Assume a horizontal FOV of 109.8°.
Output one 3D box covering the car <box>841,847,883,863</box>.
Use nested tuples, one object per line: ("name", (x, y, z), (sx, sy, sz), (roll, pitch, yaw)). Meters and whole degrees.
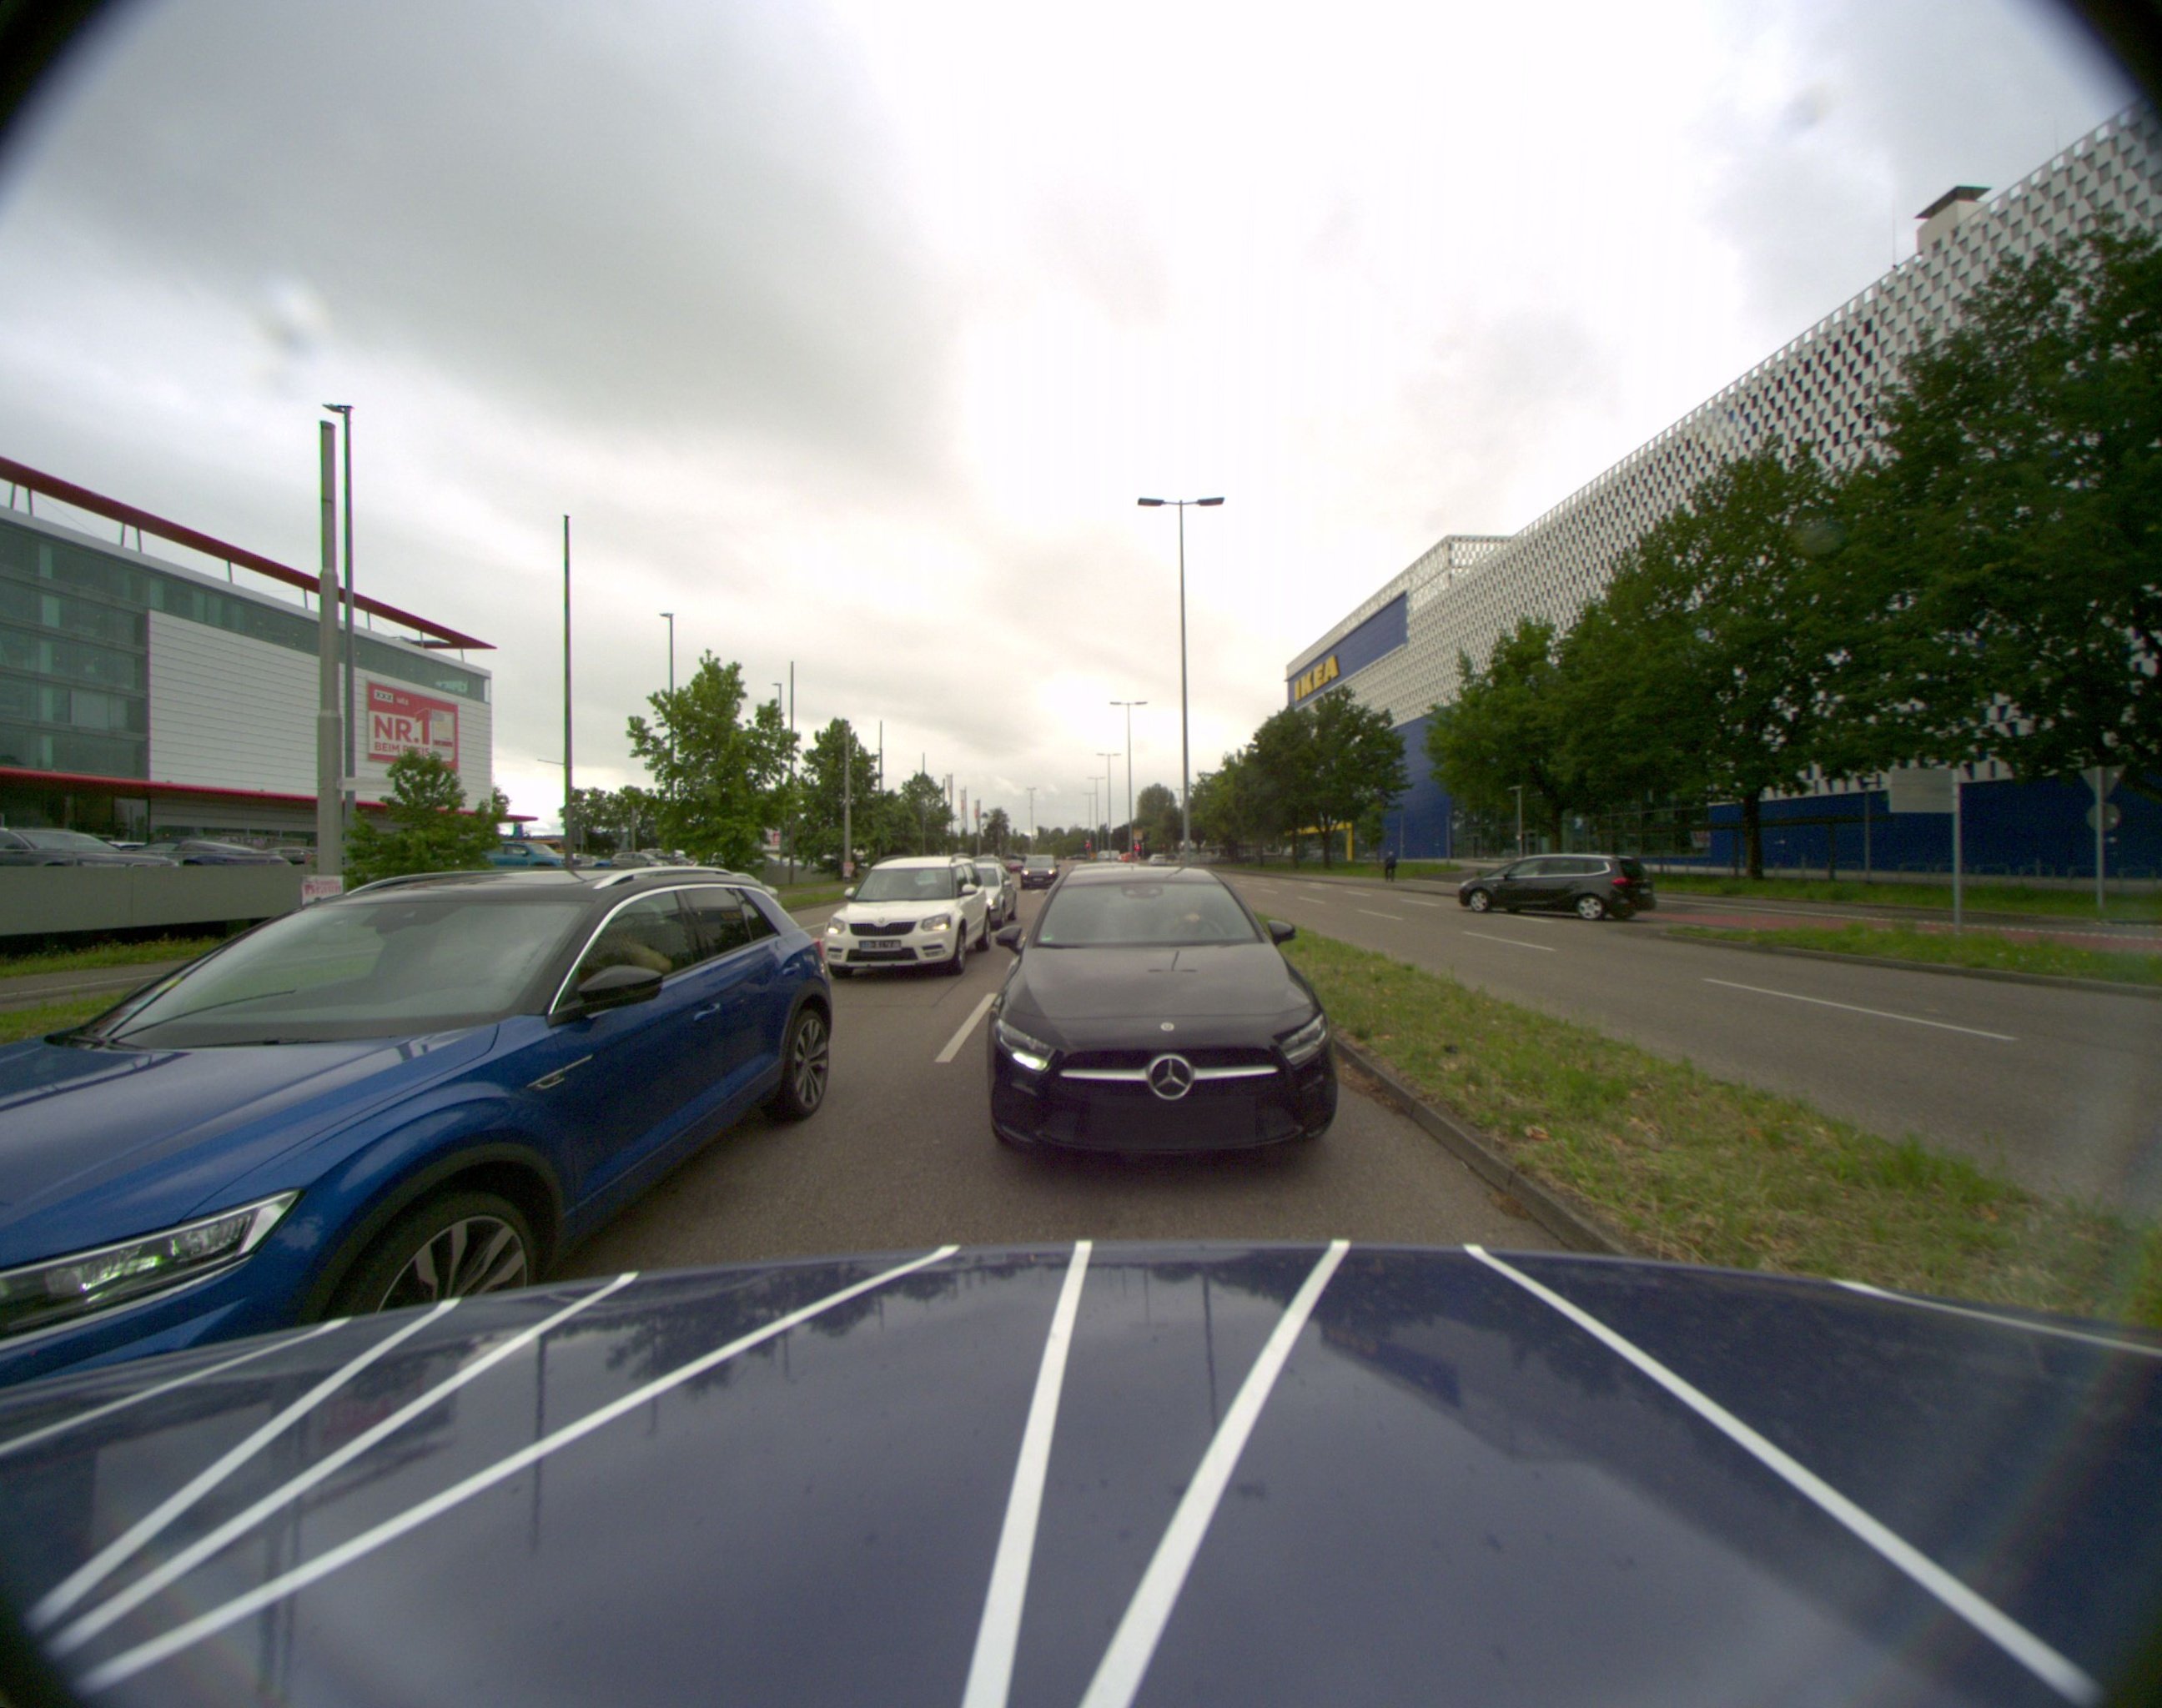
("car", (-24.164, 0.069, 83.962), (3.997, 1.556, 1.796), (-2, 1, 1))

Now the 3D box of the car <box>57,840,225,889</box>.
("car", (-37.544, 0.390, 30.447), (3.998, 1.729, 1.999), (-2, 1, -2))

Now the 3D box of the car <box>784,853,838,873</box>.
("car", (-23.624, 0.759, 66.486), (3.997, 1.556, 1.796), (-2, 1, 1))

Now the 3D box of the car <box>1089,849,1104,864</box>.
("car", (2.374, 0.385, 118.536), (1.999, 2.206, 3.999), (0, 0, -2))

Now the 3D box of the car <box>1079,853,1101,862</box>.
("car", (2.246, 0.810, 181.544), (5.089, 2.002, 1.999), (-2, 1, -2))

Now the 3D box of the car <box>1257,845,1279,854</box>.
("car", (39.260, -0.918, 159.914), (3.999, 1.805, 1.998), (-2, 1, -7))

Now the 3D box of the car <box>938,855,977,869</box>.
("car", (-14.493, 0.949, 89.329), (4.216, 1.407, 1.802), (-2, 1, 0))

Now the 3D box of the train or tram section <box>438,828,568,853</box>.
("train or tram section", (-119.687, -2.784, 157.588), (23.275, 4.811, 3.631), (-1, 1, -3))

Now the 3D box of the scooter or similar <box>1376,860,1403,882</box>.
("scooter or similar", (17.116, 0.925, 42.205), (0.590, 1.119, 1.423), (-5, 2, -16))

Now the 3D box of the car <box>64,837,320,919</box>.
("car", (-22.650, 0.574, 19.511), (3.998, 1.838, 1.999), (-2, 1, -2))

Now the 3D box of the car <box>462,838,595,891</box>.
("car", (-23.165, 0.408, 31.989), (3.997, 2.002, 1.999), (-2, 1, -2))

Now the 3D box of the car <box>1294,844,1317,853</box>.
("car", (47.445, -1.166, 160.592), (3.999, 1.805, 1.998), (-2, 1, -7))

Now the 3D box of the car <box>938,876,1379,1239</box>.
("car", (0.363, 0.946, 5.397), (1.859, 1.426, 4.197), (-2, 0, 1))

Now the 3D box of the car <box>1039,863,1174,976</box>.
("car", (0.376, 0.911, 12.385), (1.767, 1.370, 4.258), (-2, 1, 1))

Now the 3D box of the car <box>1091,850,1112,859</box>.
("car", (4.052, 0.102, 153.704), (3.999, 1.786, 1.999), (0, 0, -6))

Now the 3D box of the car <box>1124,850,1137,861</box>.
("car", (8.300, 0.212, 127.321), (1.847, 1.709, 3.924), (-2, 1, -1))

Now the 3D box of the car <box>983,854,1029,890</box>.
("car", (-3.848, 0.884, 39.600), (1.798, 1.615, 4.374), (-2, 1, 1))

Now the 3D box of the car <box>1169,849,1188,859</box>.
("car", (22.134, -0.001, 172.674), (3.997, 2.002, 1.999), (-2, 1, -2))

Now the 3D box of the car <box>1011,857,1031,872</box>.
("car", (-6.575, 1.172, 83.738), (1.801, 1.564, 4.221), (-2, -2, 1))

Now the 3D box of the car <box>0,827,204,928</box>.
("car", (-22.623, 0.525, 16.521), (4.529, 2.002, 1.999), (-2, 1, -2))

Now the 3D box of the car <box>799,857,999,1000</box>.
("car", (-2.467, 0.926, 11.500), (1.798, 1.615, 4.374), (-2, 1, 1))

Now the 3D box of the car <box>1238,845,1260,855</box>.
("car", (30.325, -0.691, 137.064), (3.565, 1.630, 1.743), (-2, 1, -3))

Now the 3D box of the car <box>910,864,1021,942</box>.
("car", (-2.496, 1.025, 17.437), (1.801, 1.407, 4.218), (-2, 1, 1))

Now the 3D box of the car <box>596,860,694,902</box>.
("car", (-23.373, 1.411, 40.877), (3.997, 2.002, 1.999), (-2, 1, -2))

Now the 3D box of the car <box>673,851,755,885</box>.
("car", (-24.043, 0.877, 49.960), (4.324, 2.002, 1.999), (-2, 1, -2))

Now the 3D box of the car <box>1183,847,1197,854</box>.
("car", (34.268, -1.124, 238.920), (4.290, 1.813, 1.743), (-2, 1, -3))

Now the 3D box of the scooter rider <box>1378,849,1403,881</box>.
("scooter rider", (17.144, 0.614, 42.128), (0.798, 1.710, 1.038), (-2, 1, -16))

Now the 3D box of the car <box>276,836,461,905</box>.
("car", (-23.131, 0.502, 24.810), (3.997, 2.002, 1.999), (-2, 1, -2))

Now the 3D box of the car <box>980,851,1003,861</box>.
("car", (-20.997, 0.475, 177.919), (5.089, 2.002, 1.999), (-2, 1, -2))

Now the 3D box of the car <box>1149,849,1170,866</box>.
("car", (9.138, 0.427, 88.979), (1.847, 1.875, 3.924), (-2, 1, -1))

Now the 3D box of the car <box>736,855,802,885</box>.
("car", (-23.245, 1.175, 56.650), (3.997, 2.002, 2.000), (-2, 1, 0))

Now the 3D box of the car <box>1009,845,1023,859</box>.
("car", (-10.204, -0.291, 119.991), (1.999, 2.229, 3.999), (0, 0, -2))

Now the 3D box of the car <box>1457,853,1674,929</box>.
("car", (12.428, 0.861, 19.777), (1.852, 1.646, 4.349), (1, 1, -36))

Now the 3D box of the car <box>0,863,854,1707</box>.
("car", (-2.584, 0.929, 3.108), (1.846, 1.612, 4.332), (-2, 1, 1))

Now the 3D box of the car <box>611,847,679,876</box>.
("car", (-33.818, 0.557, 59.029), (3.997, 2.002, 1.999), (-2, 1, -2))

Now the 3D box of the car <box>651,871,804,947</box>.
("car", (-7.955, 1.176, 17.527), (1.694, 1.364, 3.925), (-2, 1, -1))

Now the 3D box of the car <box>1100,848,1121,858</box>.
("car", (6.951, -0.244, 178.438), (4.708, 2.002, 1.999), (-2, 1, -2))

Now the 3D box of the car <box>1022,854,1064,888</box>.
("car", (-1.881, 0.910, 38.598), (1.801, 1.564, 4.221), (-2, -2, 1))
